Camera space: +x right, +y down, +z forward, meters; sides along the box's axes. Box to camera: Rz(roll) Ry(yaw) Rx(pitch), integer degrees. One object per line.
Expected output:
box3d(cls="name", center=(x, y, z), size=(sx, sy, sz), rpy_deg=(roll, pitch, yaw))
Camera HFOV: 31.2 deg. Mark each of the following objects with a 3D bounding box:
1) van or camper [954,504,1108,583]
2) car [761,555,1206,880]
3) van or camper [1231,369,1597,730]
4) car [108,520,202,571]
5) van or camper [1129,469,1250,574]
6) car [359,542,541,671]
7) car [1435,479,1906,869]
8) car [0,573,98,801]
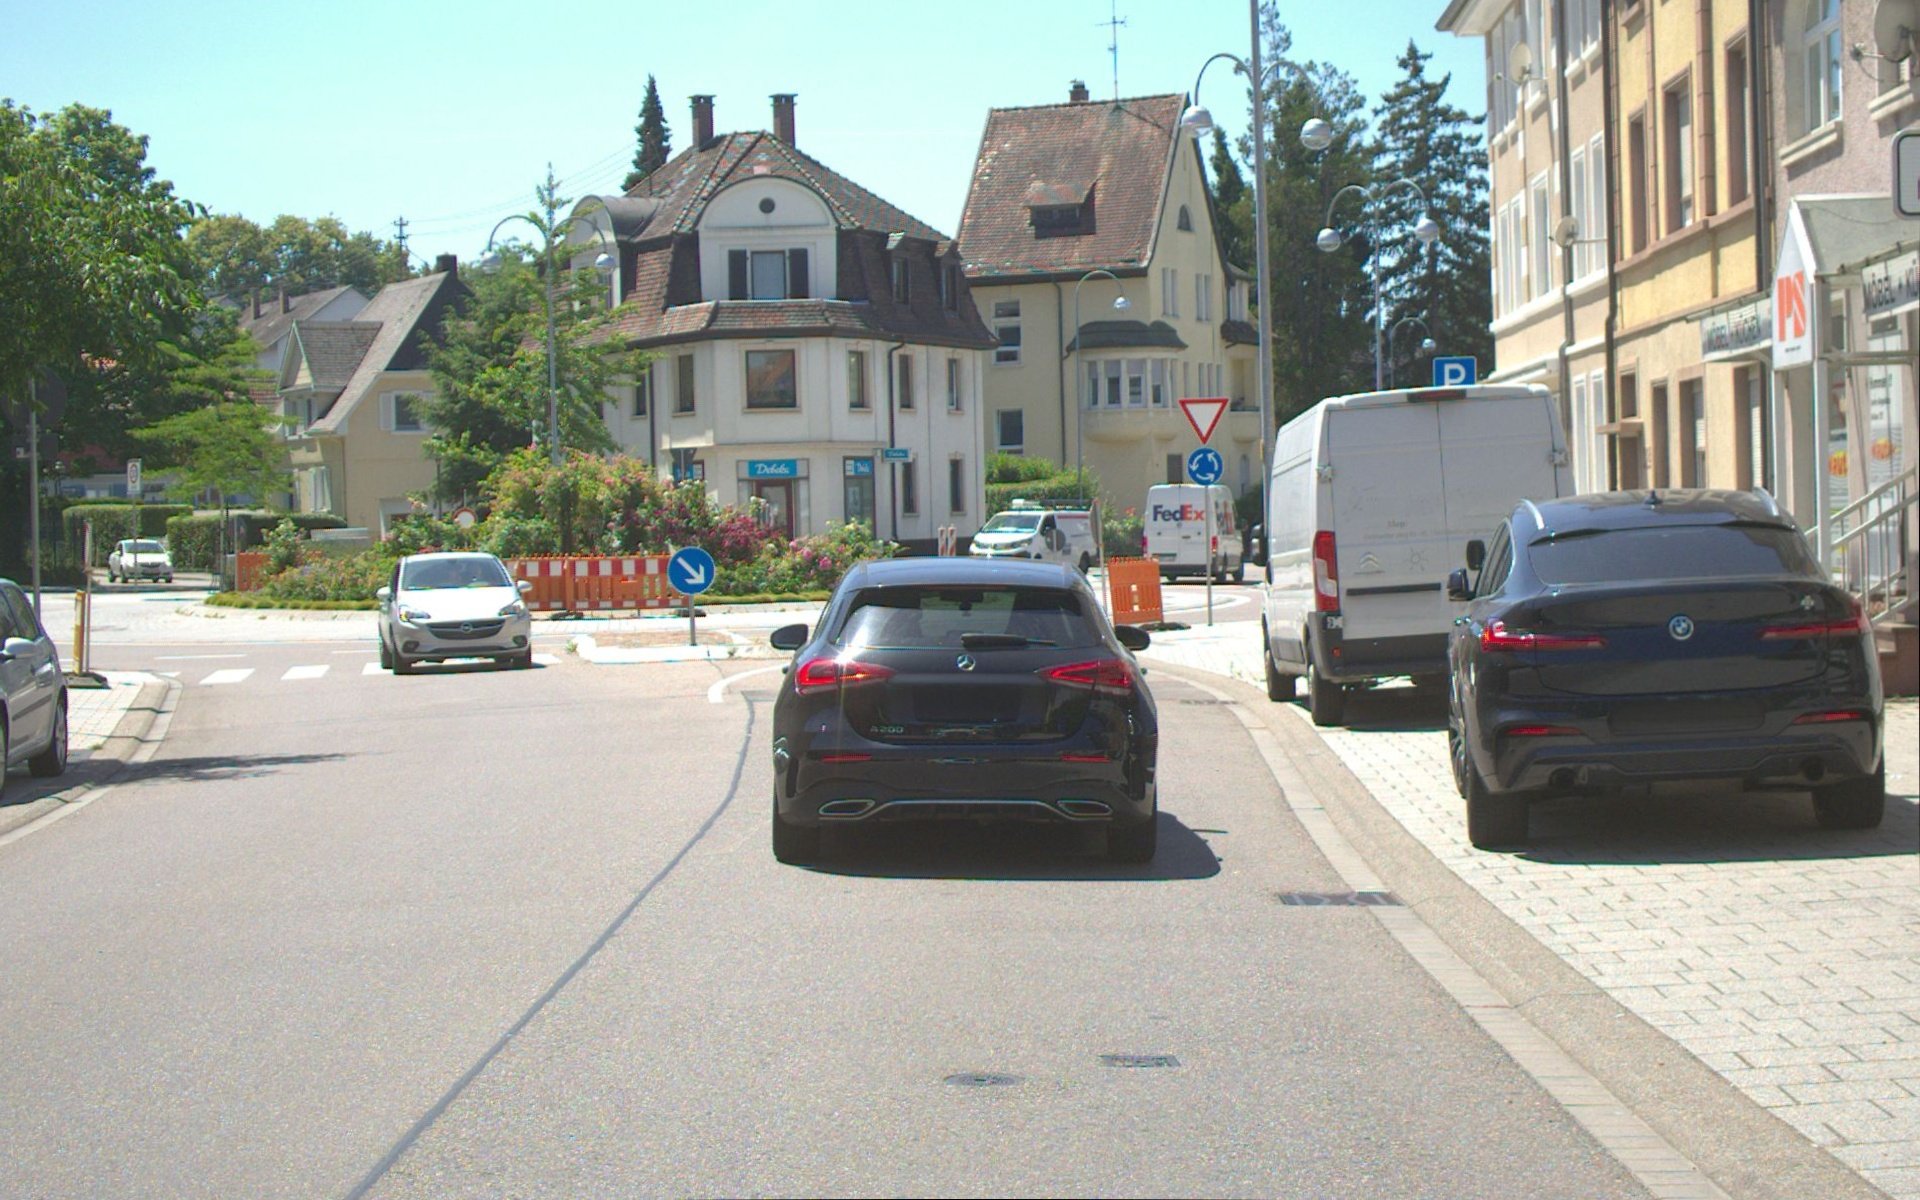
box3d(cls="van or camper", center=(2.031, -1.563, 96.395), size=(1.997, 2.164, 5.404), rpy_deg=(1, 1, 29))
box3d(cls="car", center=(0.074, 0.497, 17.170), size=(1.953, 1.422, 4.000), rpy_deg=(0, 1, -1))
box3d(cls="van or camper", center=(3.588, -0.432, 28.326), size=(2.165, 2.580, 5.766), rpy_deg=(-3, 1, 0))
box3d(cls="car", center=(-27.550, -1.853, 117.777), size=(1.785, 1.592, 3.919), rpy_deg=(-1, -1, 9))
box3d(cls="van or camper", center=(5.933, -2.018, 88.464), size=(2.207, 2.601, 3.997), rpy_deg=(0, 1, 17))
box3d(cls="car", center=(-6.429, 0.058, 43.068), size=(1.659, 1.491, 3.760), rpy_deg=(-2, 1, -17))
box3d(cls="car", center=(3.375, 0.287, 17.089), size=(1.896, 1.602, 4.363), rpy_deg=(-3, 1, 7))
box3d(cls="car", center=(-7.175, 0.547, 23.150), size=(1.993, 1.415, 4.089), rpy_deg=(0, 1, -4))
